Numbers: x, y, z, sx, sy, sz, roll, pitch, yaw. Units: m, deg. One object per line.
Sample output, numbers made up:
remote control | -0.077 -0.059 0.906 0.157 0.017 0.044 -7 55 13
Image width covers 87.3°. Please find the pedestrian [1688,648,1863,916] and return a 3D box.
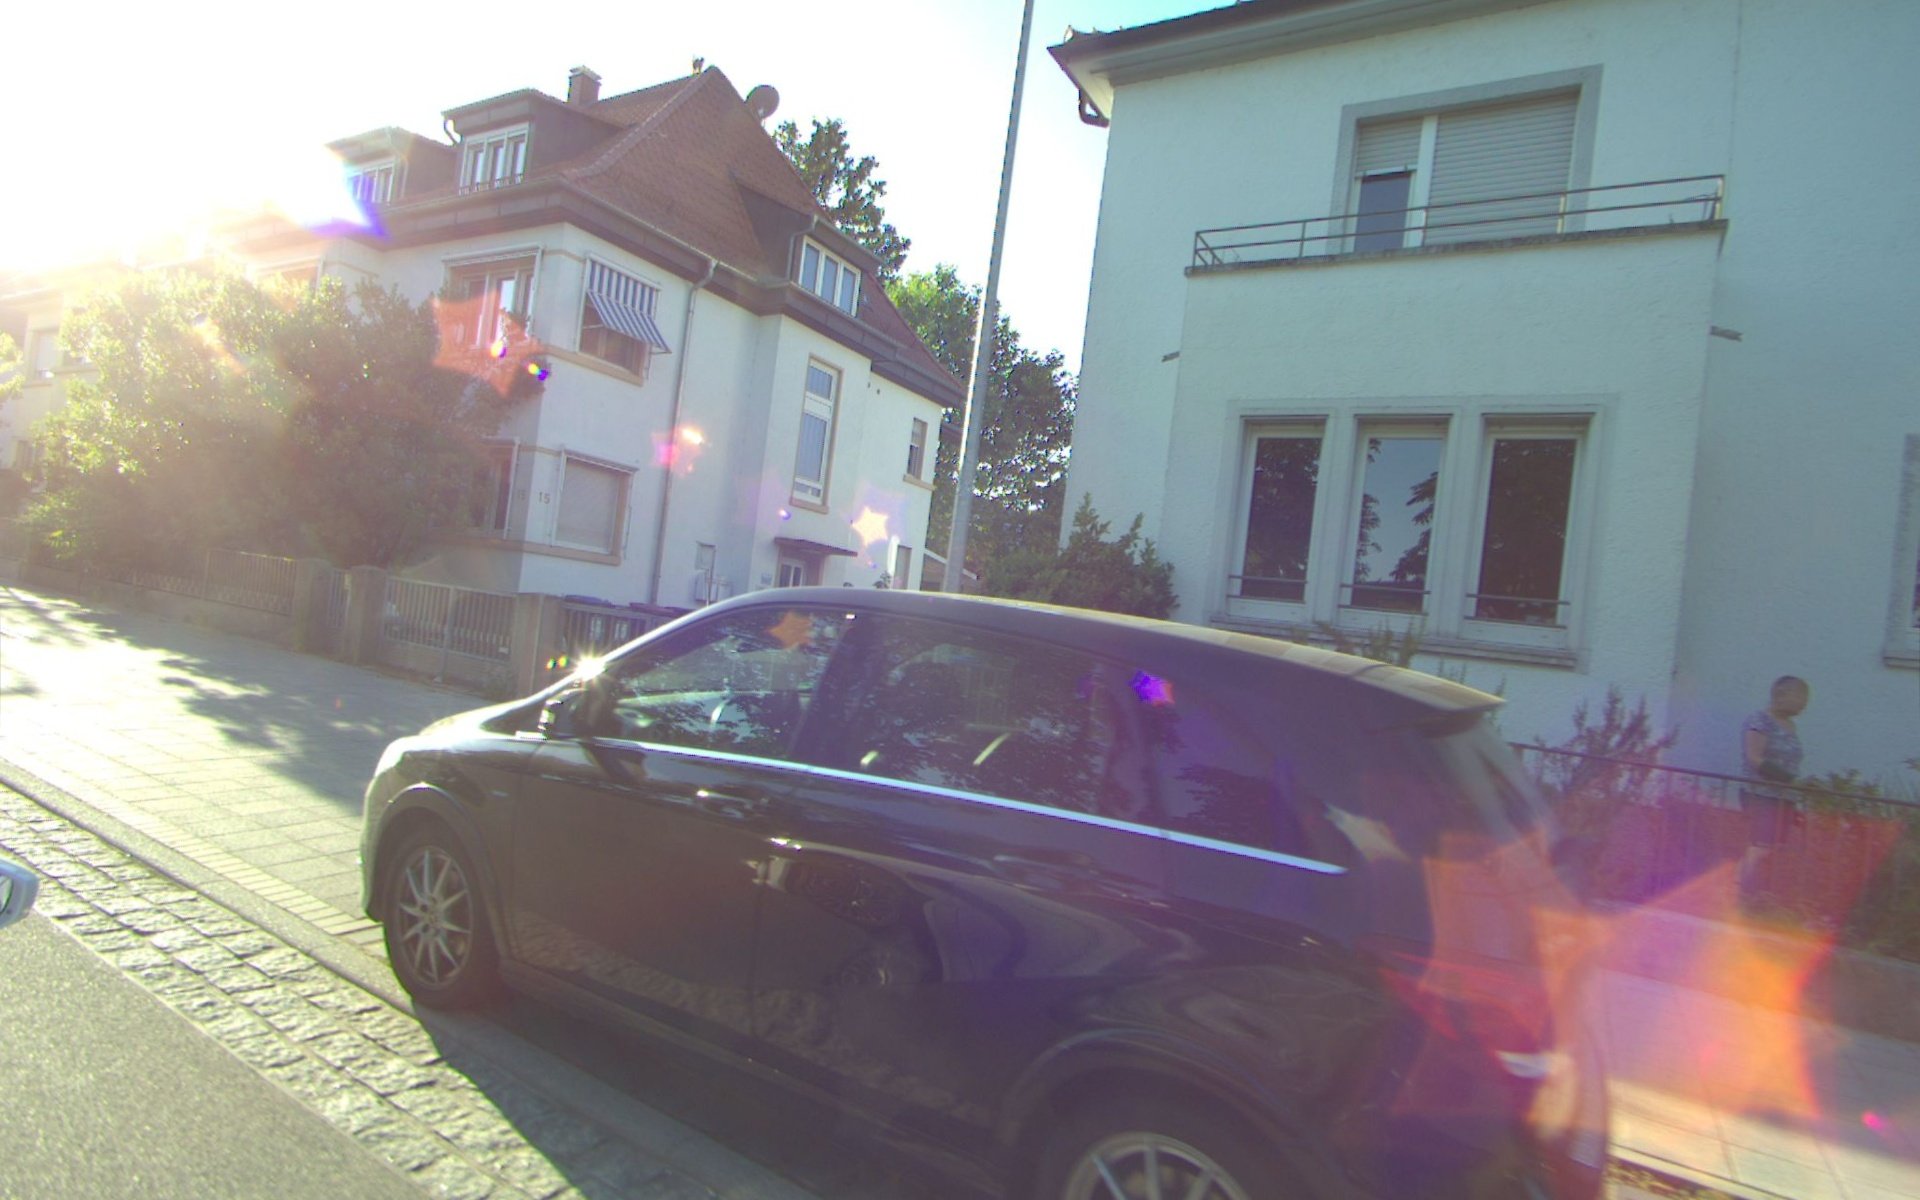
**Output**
pedestrian | 5.301 1.160 6.551 0.591 1.596 0.625 8 -2 -32

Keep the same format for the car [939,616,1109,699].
car | 1.570 1.381 23.230 1.845 1.525 4.148 5 -2 36

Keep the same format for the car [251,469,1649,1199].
car | -0.370 0.611 3.522 4.342 1.706 1.834 7 0 32

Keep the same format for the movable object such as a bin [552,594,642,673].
movable object such as a bin | -5.855 0.549 16.260 0.777 1.112 0.986 5 -3 35

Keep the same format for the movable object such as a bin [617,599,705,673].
movable object such as a bin | -5.127 0.630 17.288 0.777 1.112 1.086 5 -3 35
